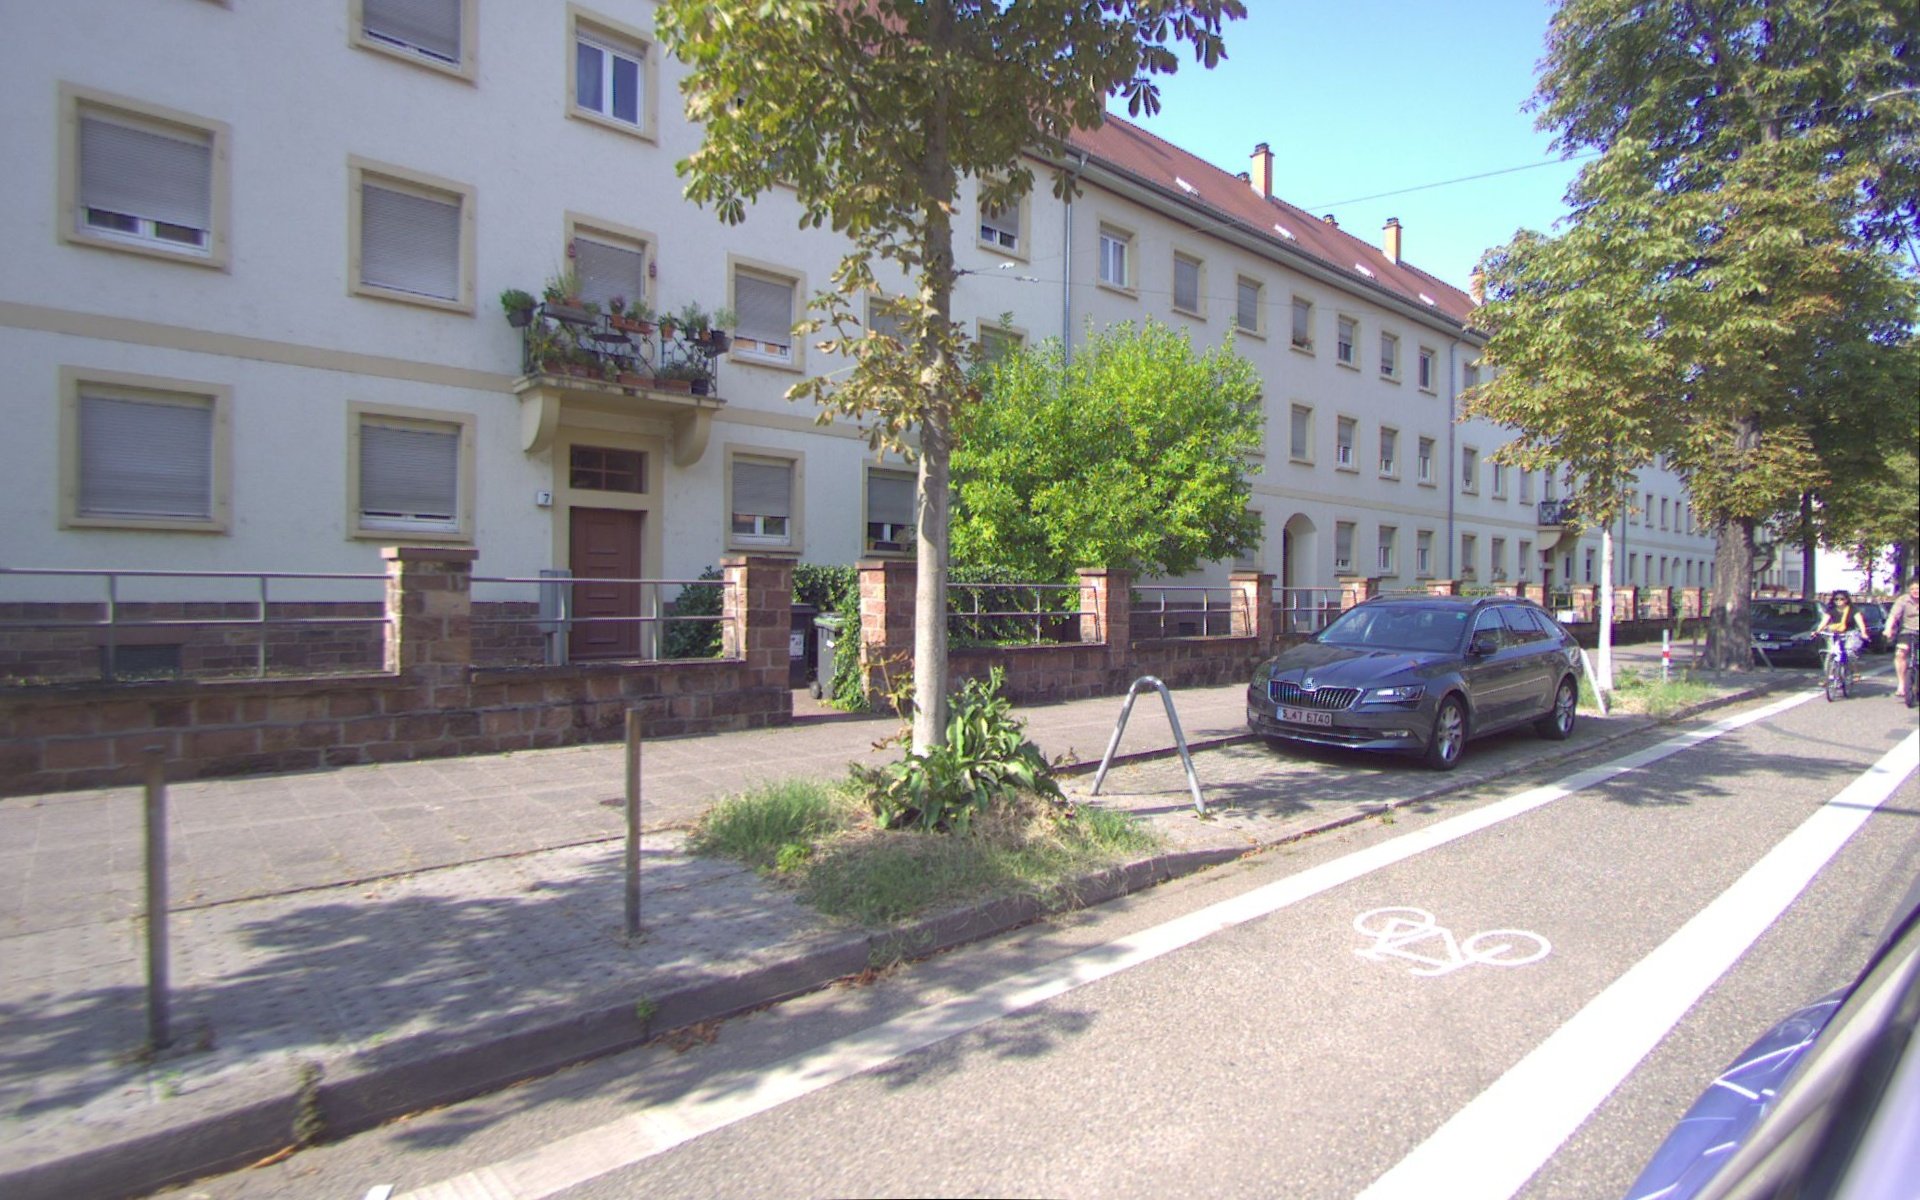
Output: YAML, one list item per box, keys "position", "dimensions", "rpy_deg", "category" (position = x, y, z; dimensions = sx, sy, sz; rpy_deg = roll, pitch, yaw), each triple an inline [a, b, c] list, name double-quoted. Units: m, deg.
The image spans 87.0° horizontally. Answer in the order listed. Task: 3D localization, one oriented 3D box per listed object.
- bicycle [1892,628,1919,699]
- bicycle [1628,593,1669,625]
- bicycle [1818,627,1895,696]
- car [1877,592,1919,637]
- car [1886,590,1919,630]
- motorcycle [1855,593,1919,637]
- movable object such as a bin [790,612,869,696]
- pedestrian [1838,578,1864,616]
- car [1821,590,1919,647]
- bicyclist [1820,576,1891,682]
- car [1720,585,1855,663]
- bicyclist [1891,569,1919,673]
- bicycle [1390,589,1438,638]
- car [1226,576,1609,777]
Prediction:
- position: [13.486, 0.869, 14.074]
  dimensions: [1.499, 0.920, 0.627]
  rpy_deg: [0, -1, -43]
  category: "bicycle"
- position: [24.601, 0.307, 36.162]
  dimensions: [2.295, 1.118, 0.772]
  rpy_deg: [0, 0, -44]
  category: "bicycle"
- position: [13.182, 0.877, 14.865]
  dimensions: [1.745, 0.920, 0.655]
  rpy_deg: [0, -1, -43]
  category: "bicycle"
- position: [34.213, 0.494, 36.172]
  dimensions: [4.172, 1.466, 1.648]
  rpy_deg: [0, 2, -41]
  category: "car"
- position: [39.891, 0.396, 41.838]
  dimensions: [3.770, 1.559, 1.651]
  rpy_deg: [0, 2, -36]
  category: "car"
- position: [31.227, 0.503, 33.819]
  dimensions: [0.693, 1.306, 1.857]
  rpy_deg: [7, -1, -44]
  category: "motorcycle"
- position: [-1.490, 0.598, 11.552]
  dimensions: [0.735, 0.908, 0.507]
  rpy_deg: [0, 0, -41]
  category: "movable object such as a bin"
- position: [41.859, -0.156, 47.554]
  dimensions: [0.861, 1.771, 0.755]
  rpy_deg: [0, 0, -35]
  category: "pedestrian"
- position: [26.421, 0.478, 29.312]
  dimensions: [4.262, 1.452, 1.693]
  rpy_deg: [0, 3, -42]
  category: "car"
- position: [13.180, 0.413, 14.893]
  dimensions: [0.893, 1.493, 0.655]
  rpy_deg: [0, -2, -42]
  category: "bicyclist"
- position: [18.462, 0.467, 22.524]
  dimensions: [4.026, 1.520, 1.692]
  rpy_deg: [-1, 3, -42]
  category: "car"
- position: [13.435, 0.282, 14.059]
  dimensions: [0.913, 1.419, 0.627]
  rpy_deg: [0, -2, -42]
  category: "bicyclist"
- position: [10.382, 0.298, 23.127]
  dimensions: [1.462, 1.073, 0.416]
  rpy_deg: [0, 1, -42]
  category: "bicycle"
- position: [4.766, 0.570, 10.176]
  dimensions: [4.637, 1.580, 1.747]
  rpy_deg: [0, 1, -41]
  category: "car"
